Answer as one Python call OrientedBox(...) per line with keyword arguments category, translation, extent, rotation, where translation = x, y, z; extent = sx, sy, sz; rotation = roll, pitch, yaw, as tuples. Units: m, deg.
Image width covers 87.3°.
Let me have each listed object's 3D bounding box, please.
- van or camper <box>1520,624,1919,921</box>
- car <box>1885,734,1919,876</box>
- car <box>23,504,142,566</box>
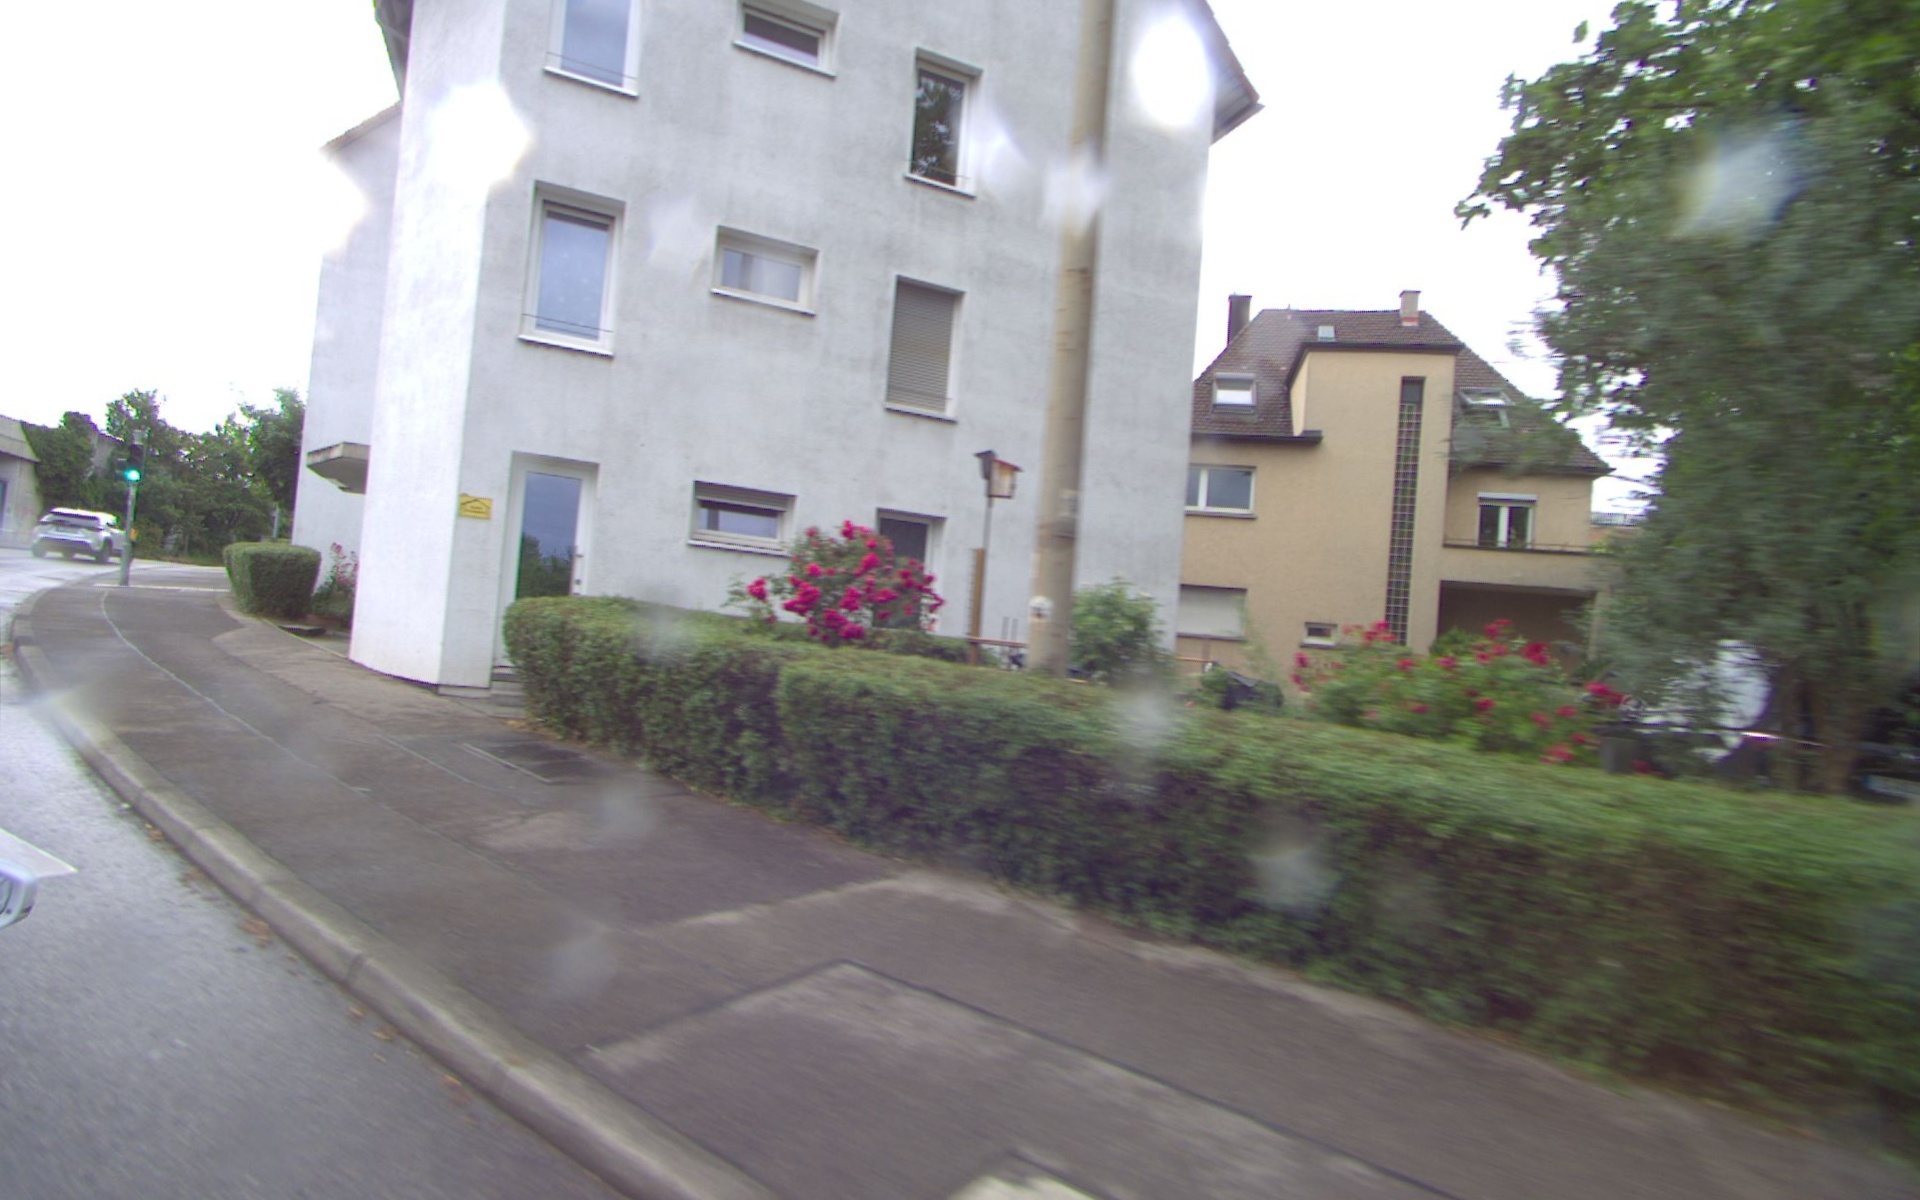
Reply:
OrientedBox(category="van or camper", translation=(7.020, 1.372, 9.128), extent=(1.962, 1.926, 4.333), rotation=(7, -2, 11))
OrientedBox(category="car", translation=(10.788, 2.210, 9.145), extent=(1.963, 1.481, 4.003), rotation=(7, -2, 20))
OrientedBox(category="car", translation=(-27.712, -1.994, 31.924), extent=(1.860, 1.548, 3.973), rotation=(8, -2, -28))
